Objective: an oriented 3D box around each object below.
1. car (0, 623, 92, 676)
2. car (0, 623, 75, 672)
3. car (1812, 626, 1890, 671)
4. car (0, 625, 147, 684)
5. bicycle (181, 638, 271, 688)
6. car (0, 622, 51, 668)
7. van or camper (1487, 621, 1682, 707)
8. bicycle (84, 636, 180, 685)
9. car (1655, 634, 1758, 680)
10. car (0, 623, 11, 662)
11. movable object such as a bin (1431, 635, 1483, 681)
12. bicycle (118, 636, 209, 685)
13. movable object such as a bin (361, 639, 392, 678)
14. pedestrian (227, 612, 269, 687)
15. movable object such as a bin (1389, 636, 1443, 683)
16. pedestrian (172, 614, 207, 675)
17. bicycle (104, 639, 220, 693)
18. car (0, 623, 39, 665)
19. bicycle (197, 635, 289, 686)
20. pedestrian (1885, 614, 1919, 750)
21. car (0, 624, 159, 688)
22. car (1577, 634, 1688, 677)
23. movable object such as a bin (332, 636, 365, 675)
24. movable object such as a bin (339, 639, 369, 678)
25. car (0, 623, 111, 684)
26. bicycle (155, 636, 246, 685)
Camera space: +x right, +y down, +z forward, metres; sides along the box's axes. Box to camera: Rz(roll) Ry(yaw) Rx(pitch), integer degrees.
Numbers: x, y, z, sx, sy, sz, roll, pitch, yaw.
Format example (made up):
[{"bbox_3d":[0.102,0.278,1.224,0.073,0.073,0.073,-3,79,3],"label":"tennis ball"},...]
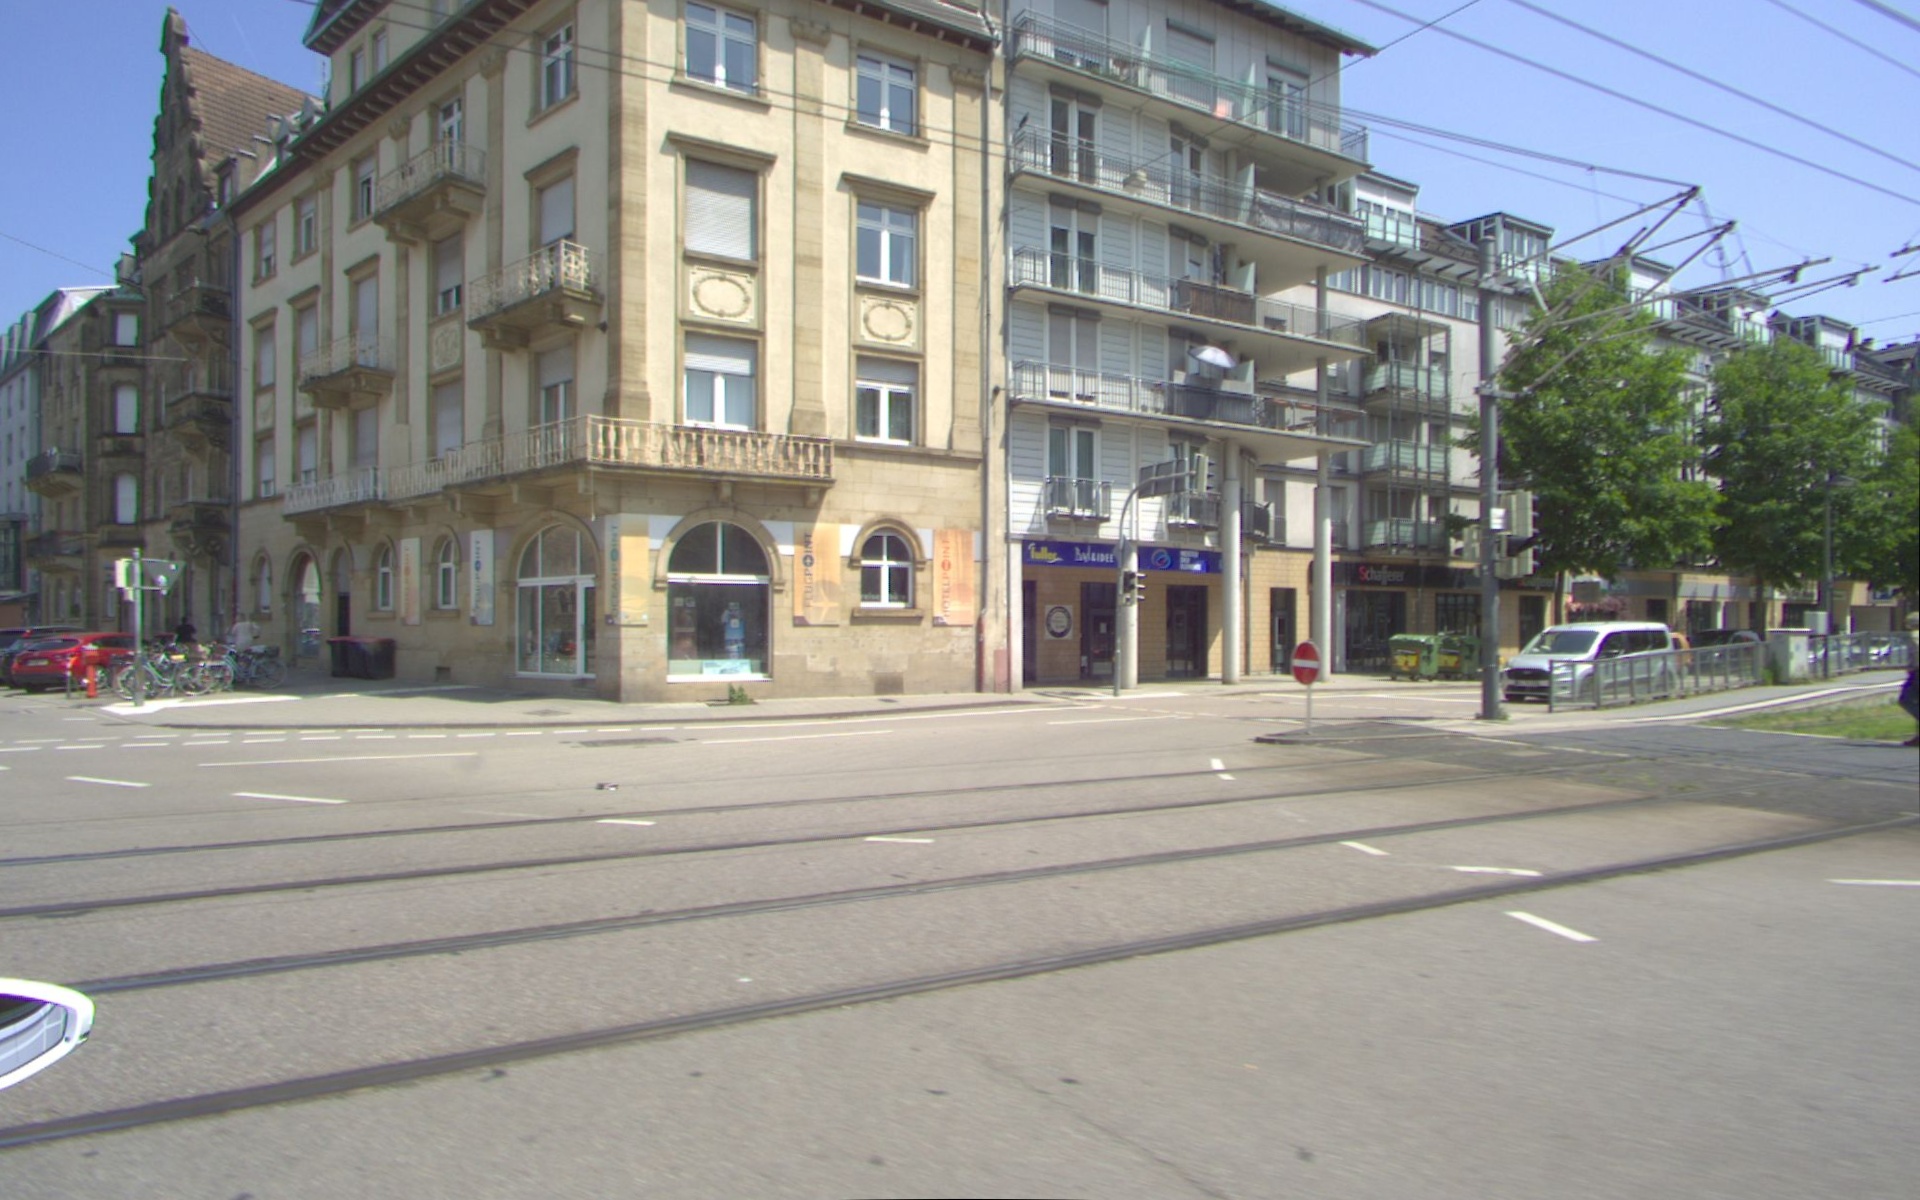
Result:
[{"bbox_3d":[-30.482,1.594,32.614,1.585,1.596,3.226,-2,0,-2],"label":"car"},{"bbox_3d":[-33.144,1.655,34.966,1.585,1.596,3.226,-2,0,-2],"label":"car"},{"bbox_3d":[42.842,2.306,48.149,3.950,2.039,1.987,1,-2,-36],"label":"car"},{"bbox_3d":[-25.468,1.518,28.787,1.585,1.498,3.226,-2,0,-2],"label":"car"},{"bbox_3d":[-18.197,1.541,24.844,1.784,1.166,0.561,0,-1,-39],"label":"bicycle"},{"bbox_3d":[-35.343,1.661,36.375,1.585,1.596,3.226,-2,0,1],"label":"car"},{"bbox_3d":[14.158,1.398,22.662,4.526,1.780,1.760,1,-2,-29],"label":"van or camper"},{"bbox_3d":[-21.136,1.517,25.586,0.557,1.166,1.795,-1,-1,32],"label":"bicycle"},{"bbox_3d":[30.207,2.269,40.496,3.944,1.794,1.990,1,-2,-31],"label":"car"},{"bbox_3d":[-39.877,1.755,39.546,1.585,1.596,3.226,-2,0,3],"label":"car"},{"bbox_3d":[16.207,1.868,32.667,0.995,1.454,1.207,1,-2,-34],"label":"movable object such as a bin"},{"bbox_3d":[-20.147,1.507,25.366,1.784,1.166,0.561,0,-1,-39],"label":"bicycle"},{"bbox_3d":[-15.389,1.535,26.410,0.577,1.007,0.585,1,-2,-44],"label":"movable object such as a bin"},{"bbox_3d":[-20.870,1.431,29.348,0.858,2.141,1.091,1,-2,-42],"label":"pedestrian"},{"bbox_3d":[14.358,1.857,31.561,0.992,1.454,1.211,1,-2,-25],"label":"movable object such as a bin"},{"bbox_3d":[-26.031,1.493,33.823,0.858,2.039,1.091,1,-2,-42],"label":"pedestrian"},{"bbox_3d":[-18.228,1.483,22.929,2.036,1.166,0.561,1,-1,-39],"label":"bicycle"},{"bbox_3d":[-37.639,1.742,38.375,1.585,1.596,3.226,-2,0,3],"label":"car"},{"bbox_3d":[-17.420,1.455,24.347,1.784,1.166,0.561,0,-1,-39],"label":"bicycle"},{"bbox_3d":[12.437,1.043,12.831,0.545,1.727,0.678,0,-1,-25],"label":"pedestrian"},{"bbox_3d":[-23.433,1.443,26.668,1.585,1.498,3.226,-2,0,-2],"label":"car"},{"bbox_3d":[25.296,2.055,37.636,3.944,1.551,1.990,1,-2,-31],"label":"car"},{"bbox_3d":[-16.816,1.518,27.541,0.664,1.078,0.585,1,-2,-44],"label":"movable object such as a bin"},{"bbox_3d":[-16.312,1.567,26.964,0.577,1.007,0.585,1,-2,-44],"label":"movable object such as a bin"},{"bbox_3d":[-27.900,1.594,30.349,1.585,1.687,3.226,-2,0,-2],"label":"car"},{"bbox_3d":[-19.090,1.499,25.200,1.784,1.166,0.561,0,-1,-39],"label":"bicycle"}]
